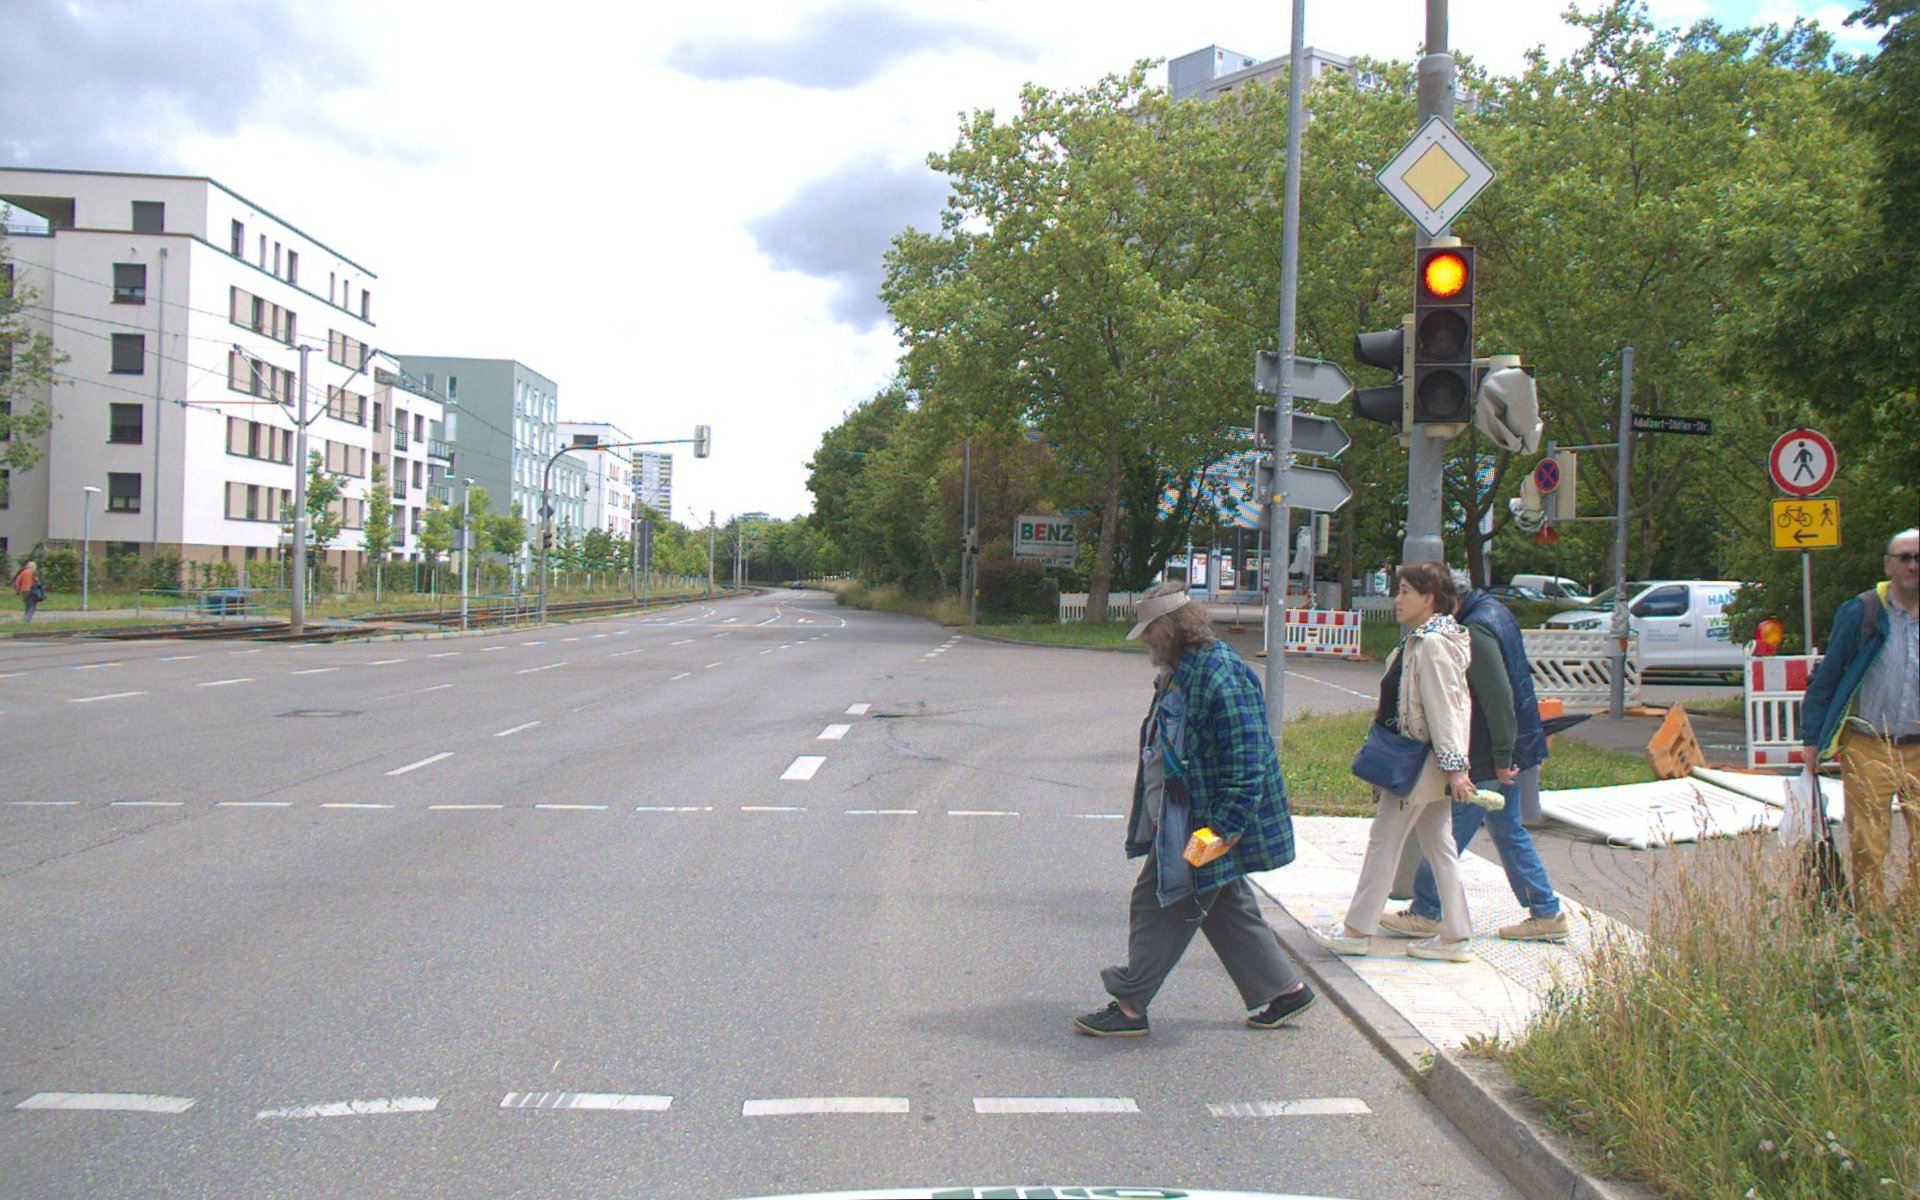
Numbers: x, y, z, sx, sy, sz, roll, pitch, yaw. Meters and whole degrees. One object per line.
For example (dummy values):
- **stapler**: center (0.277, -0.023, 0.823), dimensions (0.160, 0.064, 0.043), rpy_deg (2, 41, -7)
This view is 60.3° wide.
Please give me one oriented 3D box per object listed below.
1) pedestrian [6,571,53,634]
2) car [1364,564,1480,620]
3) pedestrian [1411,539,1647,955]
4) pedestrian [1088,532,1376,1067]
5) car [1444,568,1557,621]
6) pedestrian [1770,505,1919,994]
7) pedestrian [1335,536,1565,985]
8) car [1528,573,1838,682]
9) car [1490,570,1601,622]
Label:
- **pedestrian**: center (-23.243, 0.051, 41.316), dimensions (0.814, 1.542, 0.636), rpy_deg (1, 0, -1)
- **car**: center (17.520, -0.316, 62.840), dimensions (1.974, 2.049, 3.957), rpy_deg (0, 1, -32)
- **pedestrian**: center (2.409, 0.583, 7.098), dimensions (0.850, 1.663, 0.766), rpy_deg (1, 0, 13)
- **pedestrian**: center (0.898, 0.635, 5.648), dimensions (0.806, 1.700, 0.733), rpy_deg (1, 0, -4)
- **car**: center (21.364, -0.237, 65.475), dimensions (1.974, 2.049, 3.957), rpy_deg (0, 1, -32)
- **pedestrian**: center (3.758, 0.550, 6.560), dimensions (0.926, 1.805, 1.012), rpy_deg (1, 0, 25)
- **pedestrian**: center (1.925, 0.592, 6.603), dimensions (0.805, 1.668, 0.734), rpy_deg (1, 0, 12)
- **car**: center (13.431, 0.499, 30.874), dimensions (4.976, 1.906, 1.947), rpy_deg (1, 0, -5)
- **car**: center (23.931, -0.185, 67.712), dimensions (1.974, 2.049, 3.957), rpy_deg (0, 1, -32)
